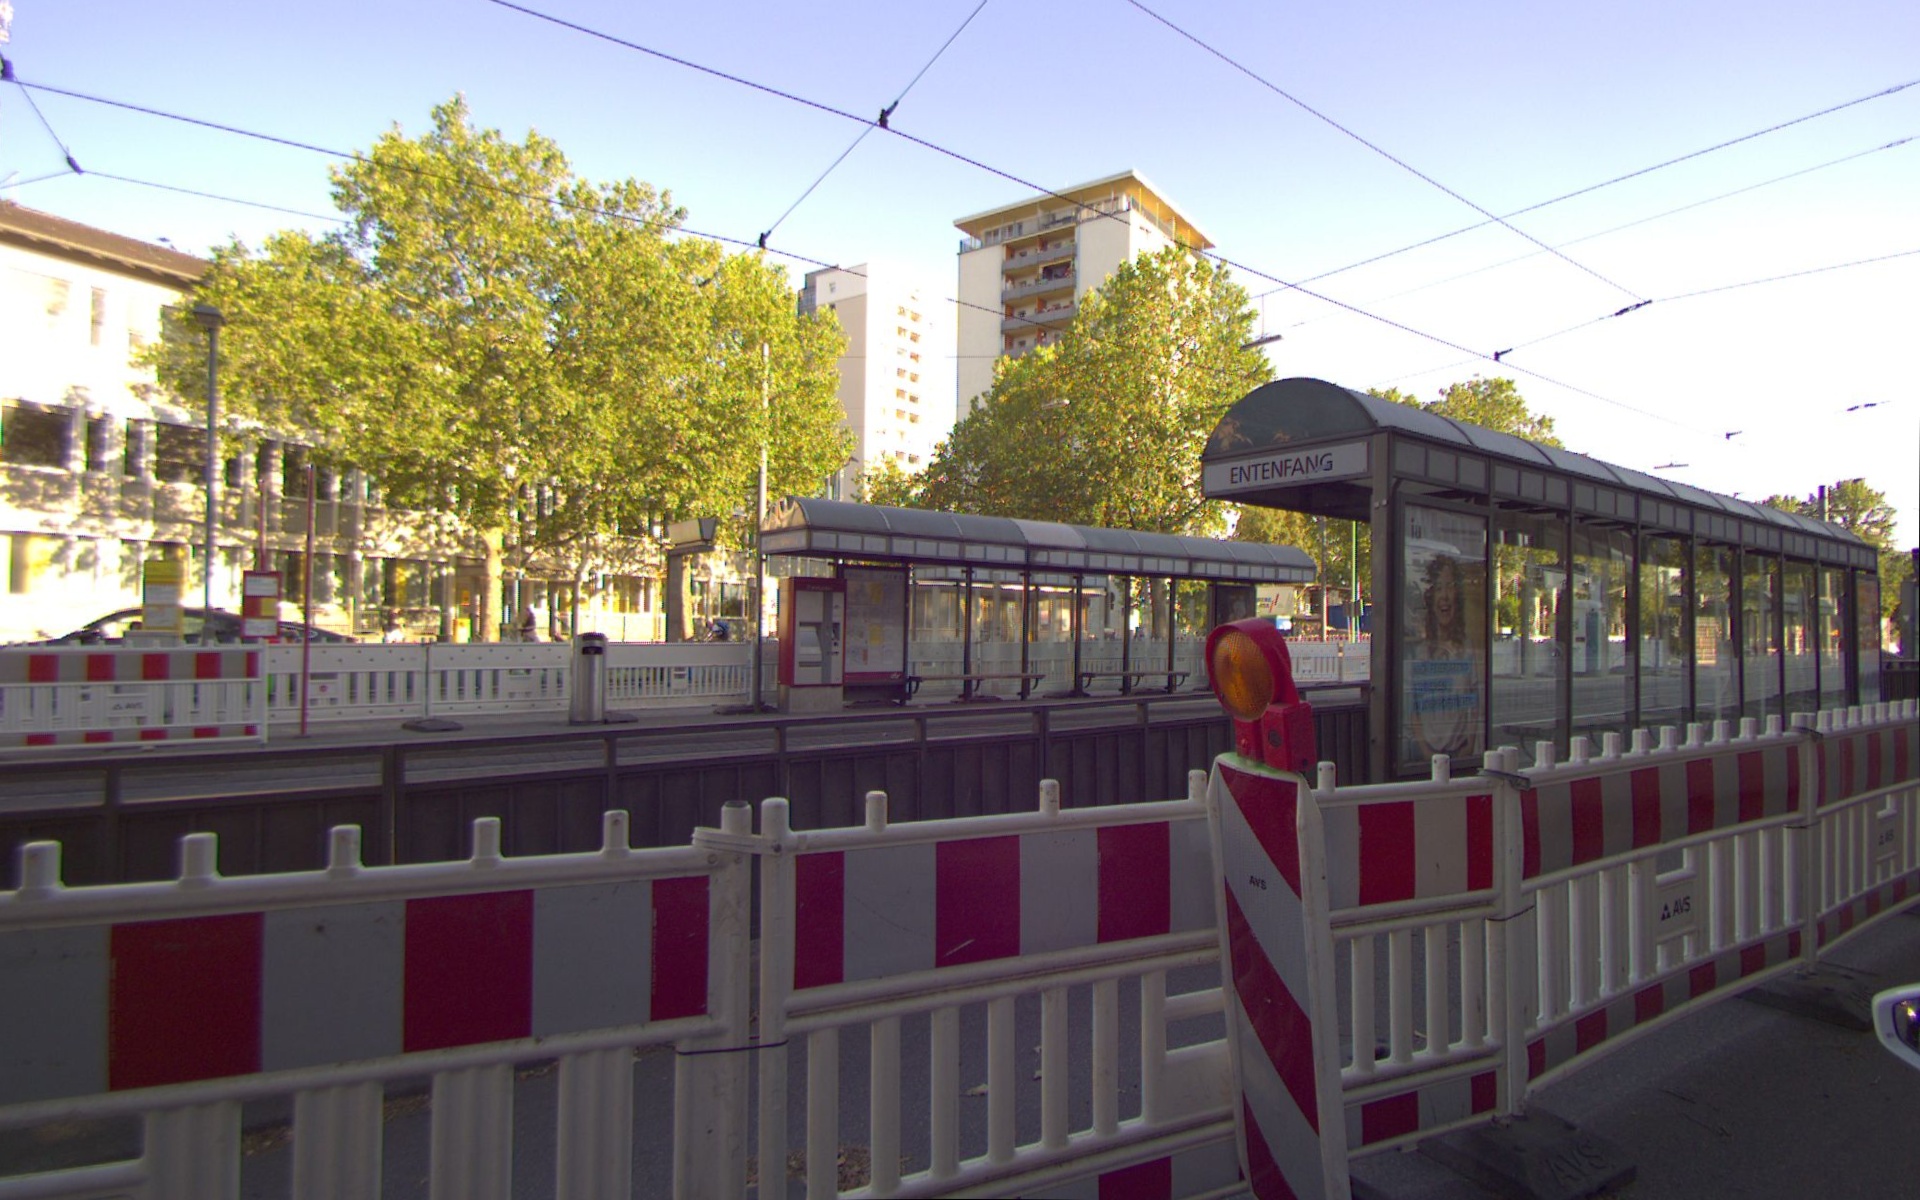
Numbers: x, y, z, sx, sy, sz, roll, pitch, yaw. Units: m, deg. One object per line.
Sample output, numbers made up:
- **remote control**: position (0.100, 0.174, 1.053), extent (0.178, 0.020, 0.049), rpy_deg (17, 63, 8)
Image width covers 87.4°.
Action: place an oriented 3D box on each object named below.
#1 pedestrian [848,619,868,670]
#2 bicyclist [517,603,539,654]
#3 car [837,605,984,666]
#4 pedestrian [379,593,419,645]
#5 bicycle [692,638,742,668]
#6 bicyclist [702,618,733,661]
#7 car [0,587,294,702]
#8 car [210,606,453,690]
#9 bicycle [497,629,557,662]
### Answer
- **pedestrian**: position (-3.682, 1.598, 36.150), extent (0.602, 1.833, 0.567), rpy_deg (1, -1, -14)
- **bicyclist**: position (-12.043, 0.800, 27.996), extent (0.460, 1.415, 0.459), rpy_deg (2, -1, -35)
- **car**: position (-1.315, 0.957, 27.286), extent (3.740, 1.532, 1.646), rpy_deg (2, -2, -38)
- **pedestrian**: position (-19.275, 0.640, 34.504), extent (0.793, 1.751, 0.884), rpy_deg (0, -1, 29)
- **bicycle**: position (-7.591, 1.653, 31.347), extent (1.453, 0.907, 0.458), rpy_deg (2, -1, -38)
- **bicyclist**: position (-7.573, 1.231, 31.358), extent (0.802, 1.314, 0.458), rpy_deg (2, -1, -38)
- **car**: position (-13.797, 0.695, 16.616), extent (4.544, 1.689, 1.881), rpy_deg (2, 0, -37)
- **car**: position (-14.314, 1.067, 23.032), extent (4.544, 1.689, 1.881), rpy_deg (2, 0, -37)
- **bicycle**: position (-12.060, 1.263, 27.984), extent (1.451, 0.907, 0.459), rpy_deg (2, -1, -35)
